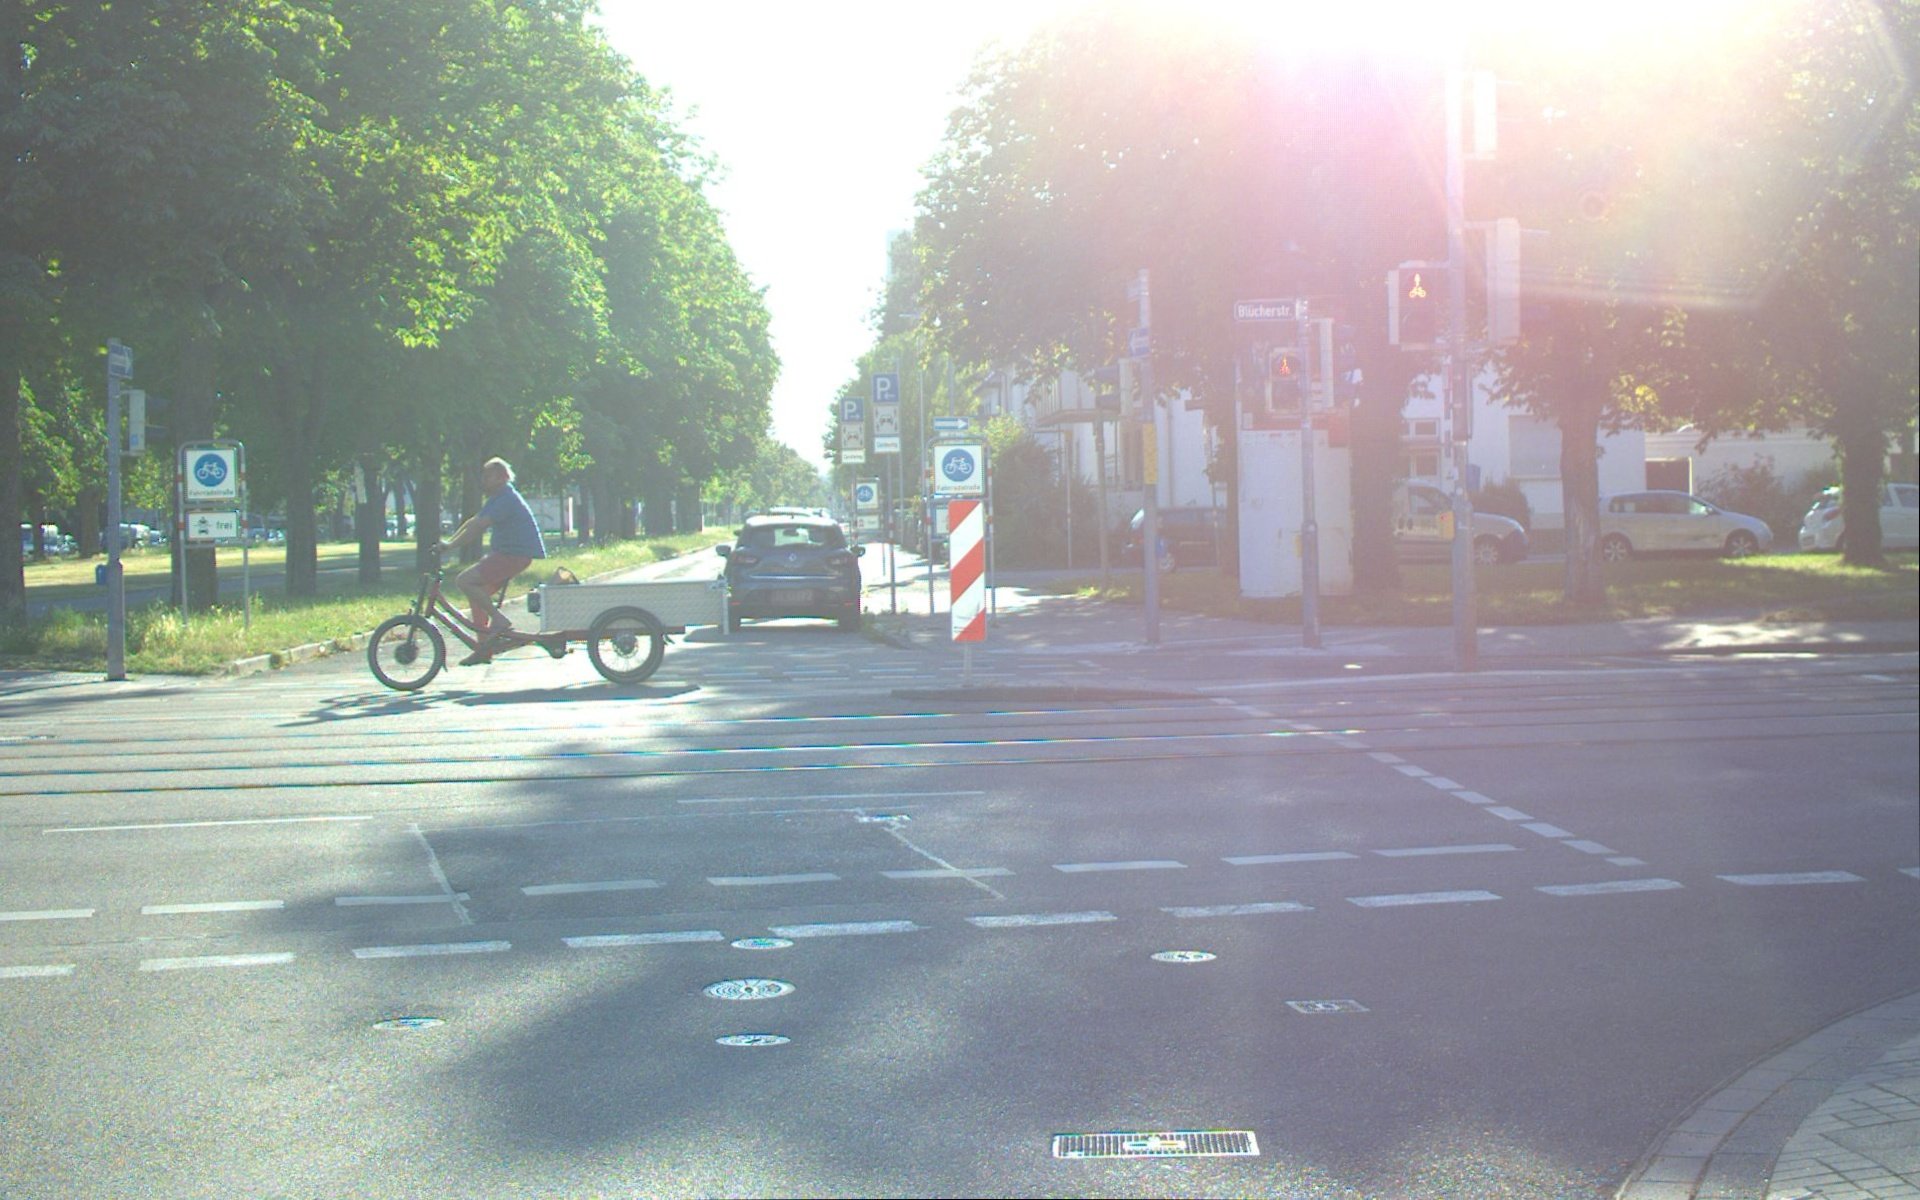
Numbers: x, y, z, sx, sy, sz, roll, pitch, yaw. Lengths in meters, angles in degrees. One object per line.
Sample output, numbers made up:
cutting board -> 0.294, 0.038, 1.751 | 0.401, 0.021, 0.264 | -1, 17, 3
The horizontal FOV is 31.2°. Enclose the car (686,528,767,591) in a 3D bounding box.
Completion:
car -> -5.283, -0.917, 78.206 | 1.709, 1.355, 4.203 | 1, 1, -2

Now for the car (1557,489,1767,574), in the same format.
car -> 13.306, -1.296, 65.253 | 3.552, 1.510, 1.606 | -1, 1, -8

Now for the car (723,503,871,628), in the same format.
car -> -2.064, -0.448, 44.544 | 1.725, 1.506, 4.541 | 1, 1, -1

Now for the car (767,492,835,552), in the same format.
car -> -4.822, -2.370, 103.712 | 1.993, 1.775, 4.001 | 1, 2, -3

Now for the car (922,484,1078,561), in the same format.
car -> 1.077, -2.095, 93.554 | 3.986, 1.816, 1.760 | -2, -4, -6

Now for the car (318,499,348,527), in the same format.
car -> -46.294, -6.439, 253.924 | 1.654, 1.932, 3.568 | 1, -1, -3

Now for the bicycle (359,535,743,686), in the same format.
bicycle -> -3.423, 0.081, 28.921 | 3.073, 1.157, 0.875 | -2, 1, 3

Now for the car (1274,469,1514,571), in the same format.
car -> 8.239, -1.511, 65.494 | 4.241, 1.868, 2.031 | -1, 1, -2

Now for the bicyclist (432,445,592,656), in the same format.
bicyclist -> -3.759, -0.415, 28.928 | 1.145, 1.717, 0.875 | -2, 0, 3

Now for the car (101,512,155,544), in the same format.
car -> -45.284, -3.925, 187.164 | 1.993, 1.653, 4.571 | -1, 2, -3

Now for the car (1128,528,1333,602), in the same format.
car -> 5.535, -0.724, 70.668 | 3.986, 1.442, 1.716 | -1, 1, -2

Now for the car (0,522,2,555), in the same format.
car -> -49.688, -3.119, 172.625 | 1.993, 1.653, 4.355 | 1, 1, -1

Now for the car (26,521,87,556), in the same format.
car -> -44.024, -2.981, 167.528 | 2.022, 1.653, 3.984 | 1, 1, -2

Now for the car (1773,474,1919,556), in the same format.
car -> 17.771, -1.632, 65.956 | 3.920, 1.518, 1.524 | 0, 0, -7
